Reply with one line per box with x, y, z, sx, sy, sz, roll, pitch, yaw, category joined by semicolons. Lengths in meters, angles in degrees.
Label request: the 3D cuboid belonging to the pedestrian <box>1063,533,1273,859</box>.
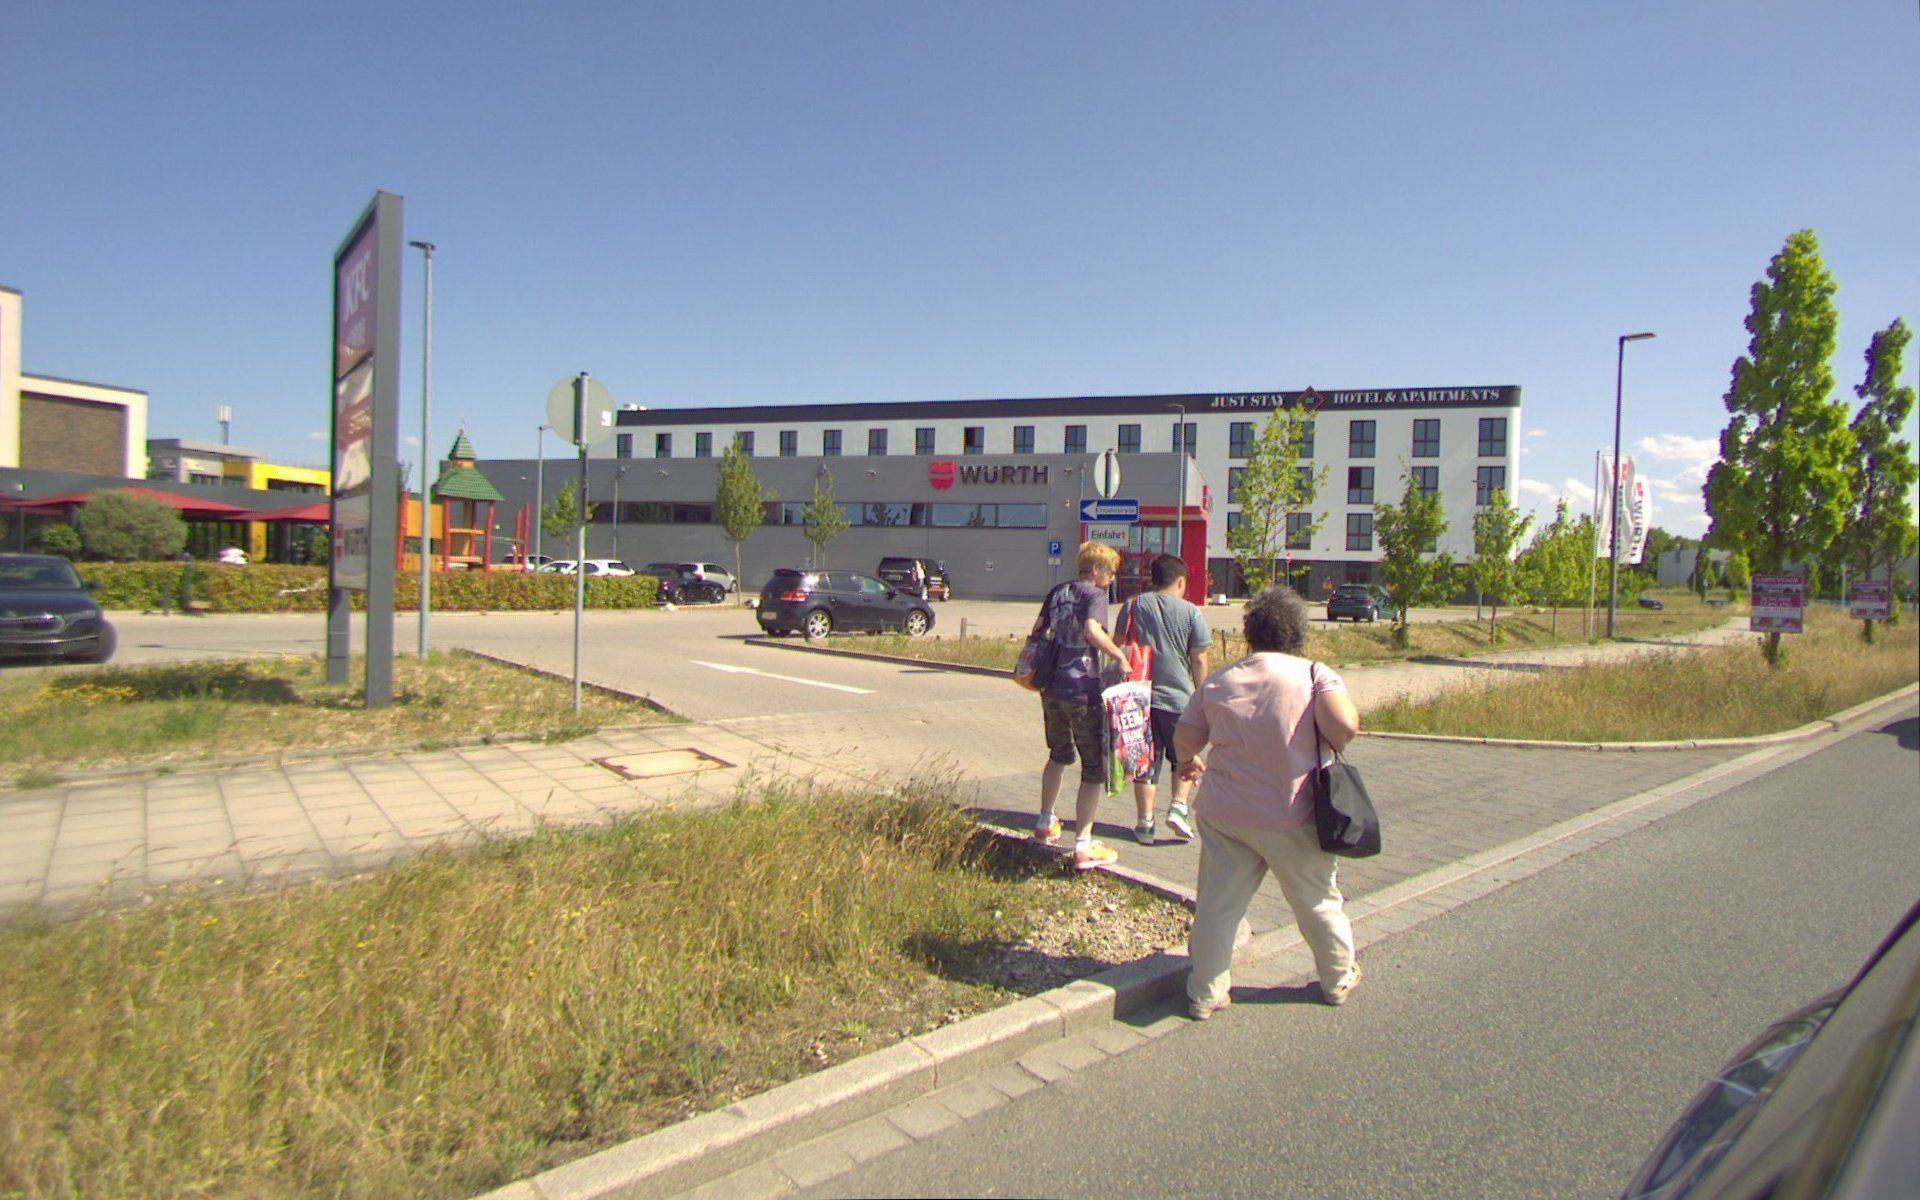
1.171;0.477;5.707;0.851;1.649;0.810;0;1;-41;pedestrian

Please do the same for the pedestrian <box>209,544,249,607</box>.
-21.055;-0.707;29.154;0.514;1.771;0.813;1;1;31;pedestrian

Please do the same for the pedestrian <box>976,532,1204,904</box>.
0.644;0.514;5.050;0.791;1.650;0.802;0;1;-41;pedestrian

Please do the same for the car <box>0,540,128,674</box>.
-12.828;-0.010;13.674;4.407;1.586;1.963;4;2;44;car

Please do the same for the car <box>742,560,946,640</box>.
-2.430;-0.041;21.789;4.096;1.559;1.783;0;2;-41;car

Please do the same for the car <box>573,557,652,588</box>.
-17.324;-1.369;50.599;1.679;1.480;4.087;1;2;17;car

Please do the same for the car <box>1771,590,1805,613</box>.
59.236;0.103;72.387;1.779;1.512;3.942;1;2;40;car

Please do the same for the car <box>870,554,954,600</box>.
-1.998;-1.006;44.113;2.022;1.838;4.895;2;1;19;car

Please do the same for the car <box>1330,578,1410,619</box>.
15.434;-0.074;37.984;1.513;1.425;3.939;2;2;42;car

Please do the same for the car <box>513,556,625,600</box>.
-14.367;-0.820;37.415;1.678;1.490;4.212;1;2;16;car

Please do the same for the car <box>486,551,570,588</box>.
-21.935;-1.555;51.546;1.679;1.779;4.087;1;2;17;car

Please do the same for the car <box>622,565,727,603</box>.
-9.896;-0.592;35.361;1.631;1.227;4.115;1;2;16;car

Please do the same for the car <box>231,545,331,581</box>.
-37.020;-1.996;55.173;4.861;1.838;2.036;2;1;19;car

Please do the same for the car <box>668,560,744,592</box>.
-12.184;-1.166;48.818;1.679;1.480;4.087;1;2;17;car

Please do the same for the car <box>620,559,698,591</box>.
-14.658;-1.242;49.476;1.679;1.480;4.087;1;2;17;car

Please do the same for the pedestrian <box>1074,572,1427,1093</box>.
1.004;0.653;3.499;0.932;1.488;0.794;0;1;-41;pedestrian
